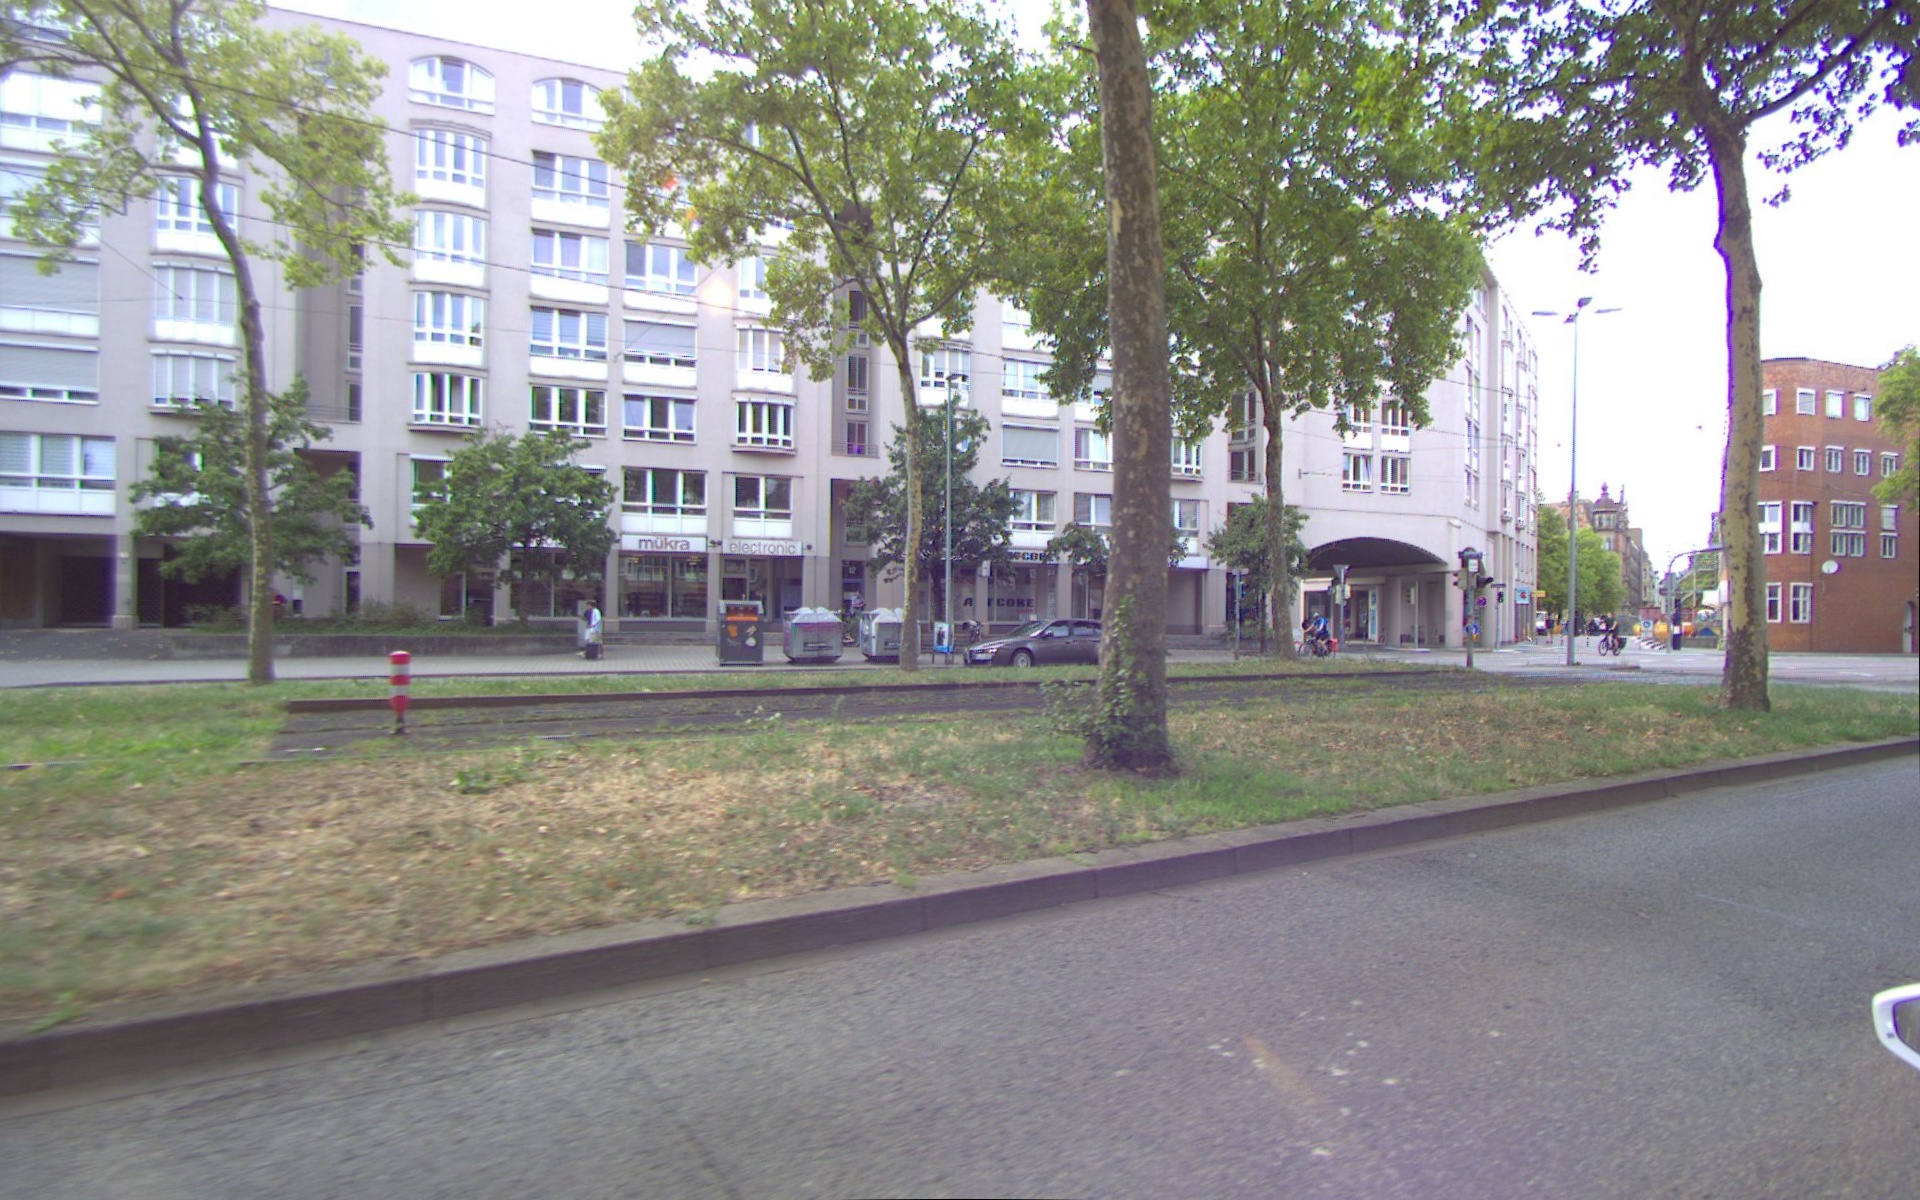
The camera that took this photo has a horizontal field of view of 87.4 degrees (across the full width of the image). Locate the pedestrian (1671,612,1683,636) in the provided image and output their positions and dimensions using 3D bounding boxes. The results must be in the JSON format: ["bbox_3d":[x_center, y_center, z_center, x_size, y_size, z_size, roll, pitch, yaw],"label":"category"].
[{"bbox_3d":[53.397,1.785,74.855,0.682,1.841,0.654,0,-1,33],"label":"pedestrian"}]

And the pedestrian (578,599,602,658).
[{"bbox_3d":[-10.869,0.829,29.498,0.618,1.728,0.550,0,0,-26],"label":"pedestrian"}]

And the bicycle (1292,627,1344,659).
[{"bbox_3d":[12.997,1.556,36.459,1.853,1.106,0.688,1,-1,-27],"label":"bicycle"}]

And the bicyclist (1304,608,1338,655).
[{"bbox_3d":[13.131,1.129,36.533,0.941,1.695,0.687,1,0,-27],"label":"bicyclist"}]

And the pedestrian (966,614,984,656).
[{"bbox_3d":[0.550,1.281,37.132,0.526,1.550,0.512,1,0,-22],"label":"pedestrian"}]

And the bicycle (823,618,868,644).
[{"bbox_3d":[-4.261,1.170,37.565,1.610,0.956,0.438,1,-1,-23],"label":"bicycle"}]

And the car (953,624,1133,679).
[{"bbox_3d":[2.161,1.272,25.712,4.483,1.261,1.720,1,-1,-32],"label":"car"}]

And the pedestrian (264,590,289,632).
[{"bbox_3d":[-22.013,0.342,32.352,0.546,1.340,0.457,0,0,-20],"label":"pedestrian"}]

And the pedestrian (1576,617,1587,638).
[{"bbox_3d":[59.840,2.620,96.668,0.851,2.040,1.340,0,-1,35],"label":"pedestrian"}]

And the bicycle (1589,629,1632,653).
[{"bbox_3d":[30.480,1.927,47.078,2.180,1.107,0.675,1,-1,-27],"label":"bicycle"}]

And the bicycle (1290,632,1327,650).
[{"bbox_3d":[18.612,2.171,53.701,0.753,0.923,2.179,1,-1,-17],"label":"bicycle"}]

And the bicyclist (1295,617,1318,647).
[{"bbox_3d":[18.561,1.698,53.823,0.755,1.559,0.879,1,-1,-17],"label":"bicyclist"}]

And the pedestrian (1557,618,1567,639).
[{"bbox_3d":[49.113,2.353,81.910,0.682,1.693,0.829,0,-1,33],"label":"pedestrian"}]

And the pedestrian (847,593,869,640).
[{"bbox_3d":[-4.052,0.654,39.778,0.682,1.833,0.768,1,0,-21],"label":"pedestrian"}]

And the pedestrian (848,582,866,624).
[{"bbox_3d":[-4.005,0.126,39.113,0.540,1.627,0.569,1,-1,-22],"label":"pedestrian"}]

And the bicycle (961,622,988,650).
[{"bbox_3d":[0.511,1.294,36.051,0.433,0.956,1.626,1,-1,-18],"label":"bicycle"}]

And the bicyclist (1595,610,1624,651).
[{"bbox_3d":[30.442,1.422,47.063,1.067,1.872,0.664,1,-1,-26],"label":"bicyclist"}]

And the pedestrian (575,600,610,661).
[{"bbox_3d":[-10.575,0.868,28.917,0.873,1.728,0.550,0,0,-26],"label":"pedestrian"}]

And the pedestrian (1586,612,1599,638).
[{"bbox_3d":[47.799,1.901,75.929,0.779,1.990,0.803,0,-1,35],"label":"pedestrian"}]

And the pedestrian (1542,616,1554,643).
[{"bbox_3d":[37.154,1.852,63.466,0.664,1.702,0.751,0,-1,32],"label":"pedestrian"}]

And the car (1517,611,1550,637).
[{"bbox_3d":[45.852,1.907,80.253,1.967,1.962,4.931,0,-1,34],"label":"car"}]

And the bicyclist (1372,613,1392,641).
[{"bbox_3d":[24.939,1.591,59.376,0.574,1.583,1.029,1,-1,-22],"label":"bicyclist"}]

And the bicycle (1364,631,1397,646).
[{"bbox_3d":[24.895,2.256,59.492,0.570,0.847,1.977,1,-1,-22],"label":"bicycle"}]

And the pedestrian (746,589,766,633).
[{"bbox_3d":[-8.009,0.439,39.489,0.650,1.694,0.635,1,0,-22],"label":"pedestrian"}]
